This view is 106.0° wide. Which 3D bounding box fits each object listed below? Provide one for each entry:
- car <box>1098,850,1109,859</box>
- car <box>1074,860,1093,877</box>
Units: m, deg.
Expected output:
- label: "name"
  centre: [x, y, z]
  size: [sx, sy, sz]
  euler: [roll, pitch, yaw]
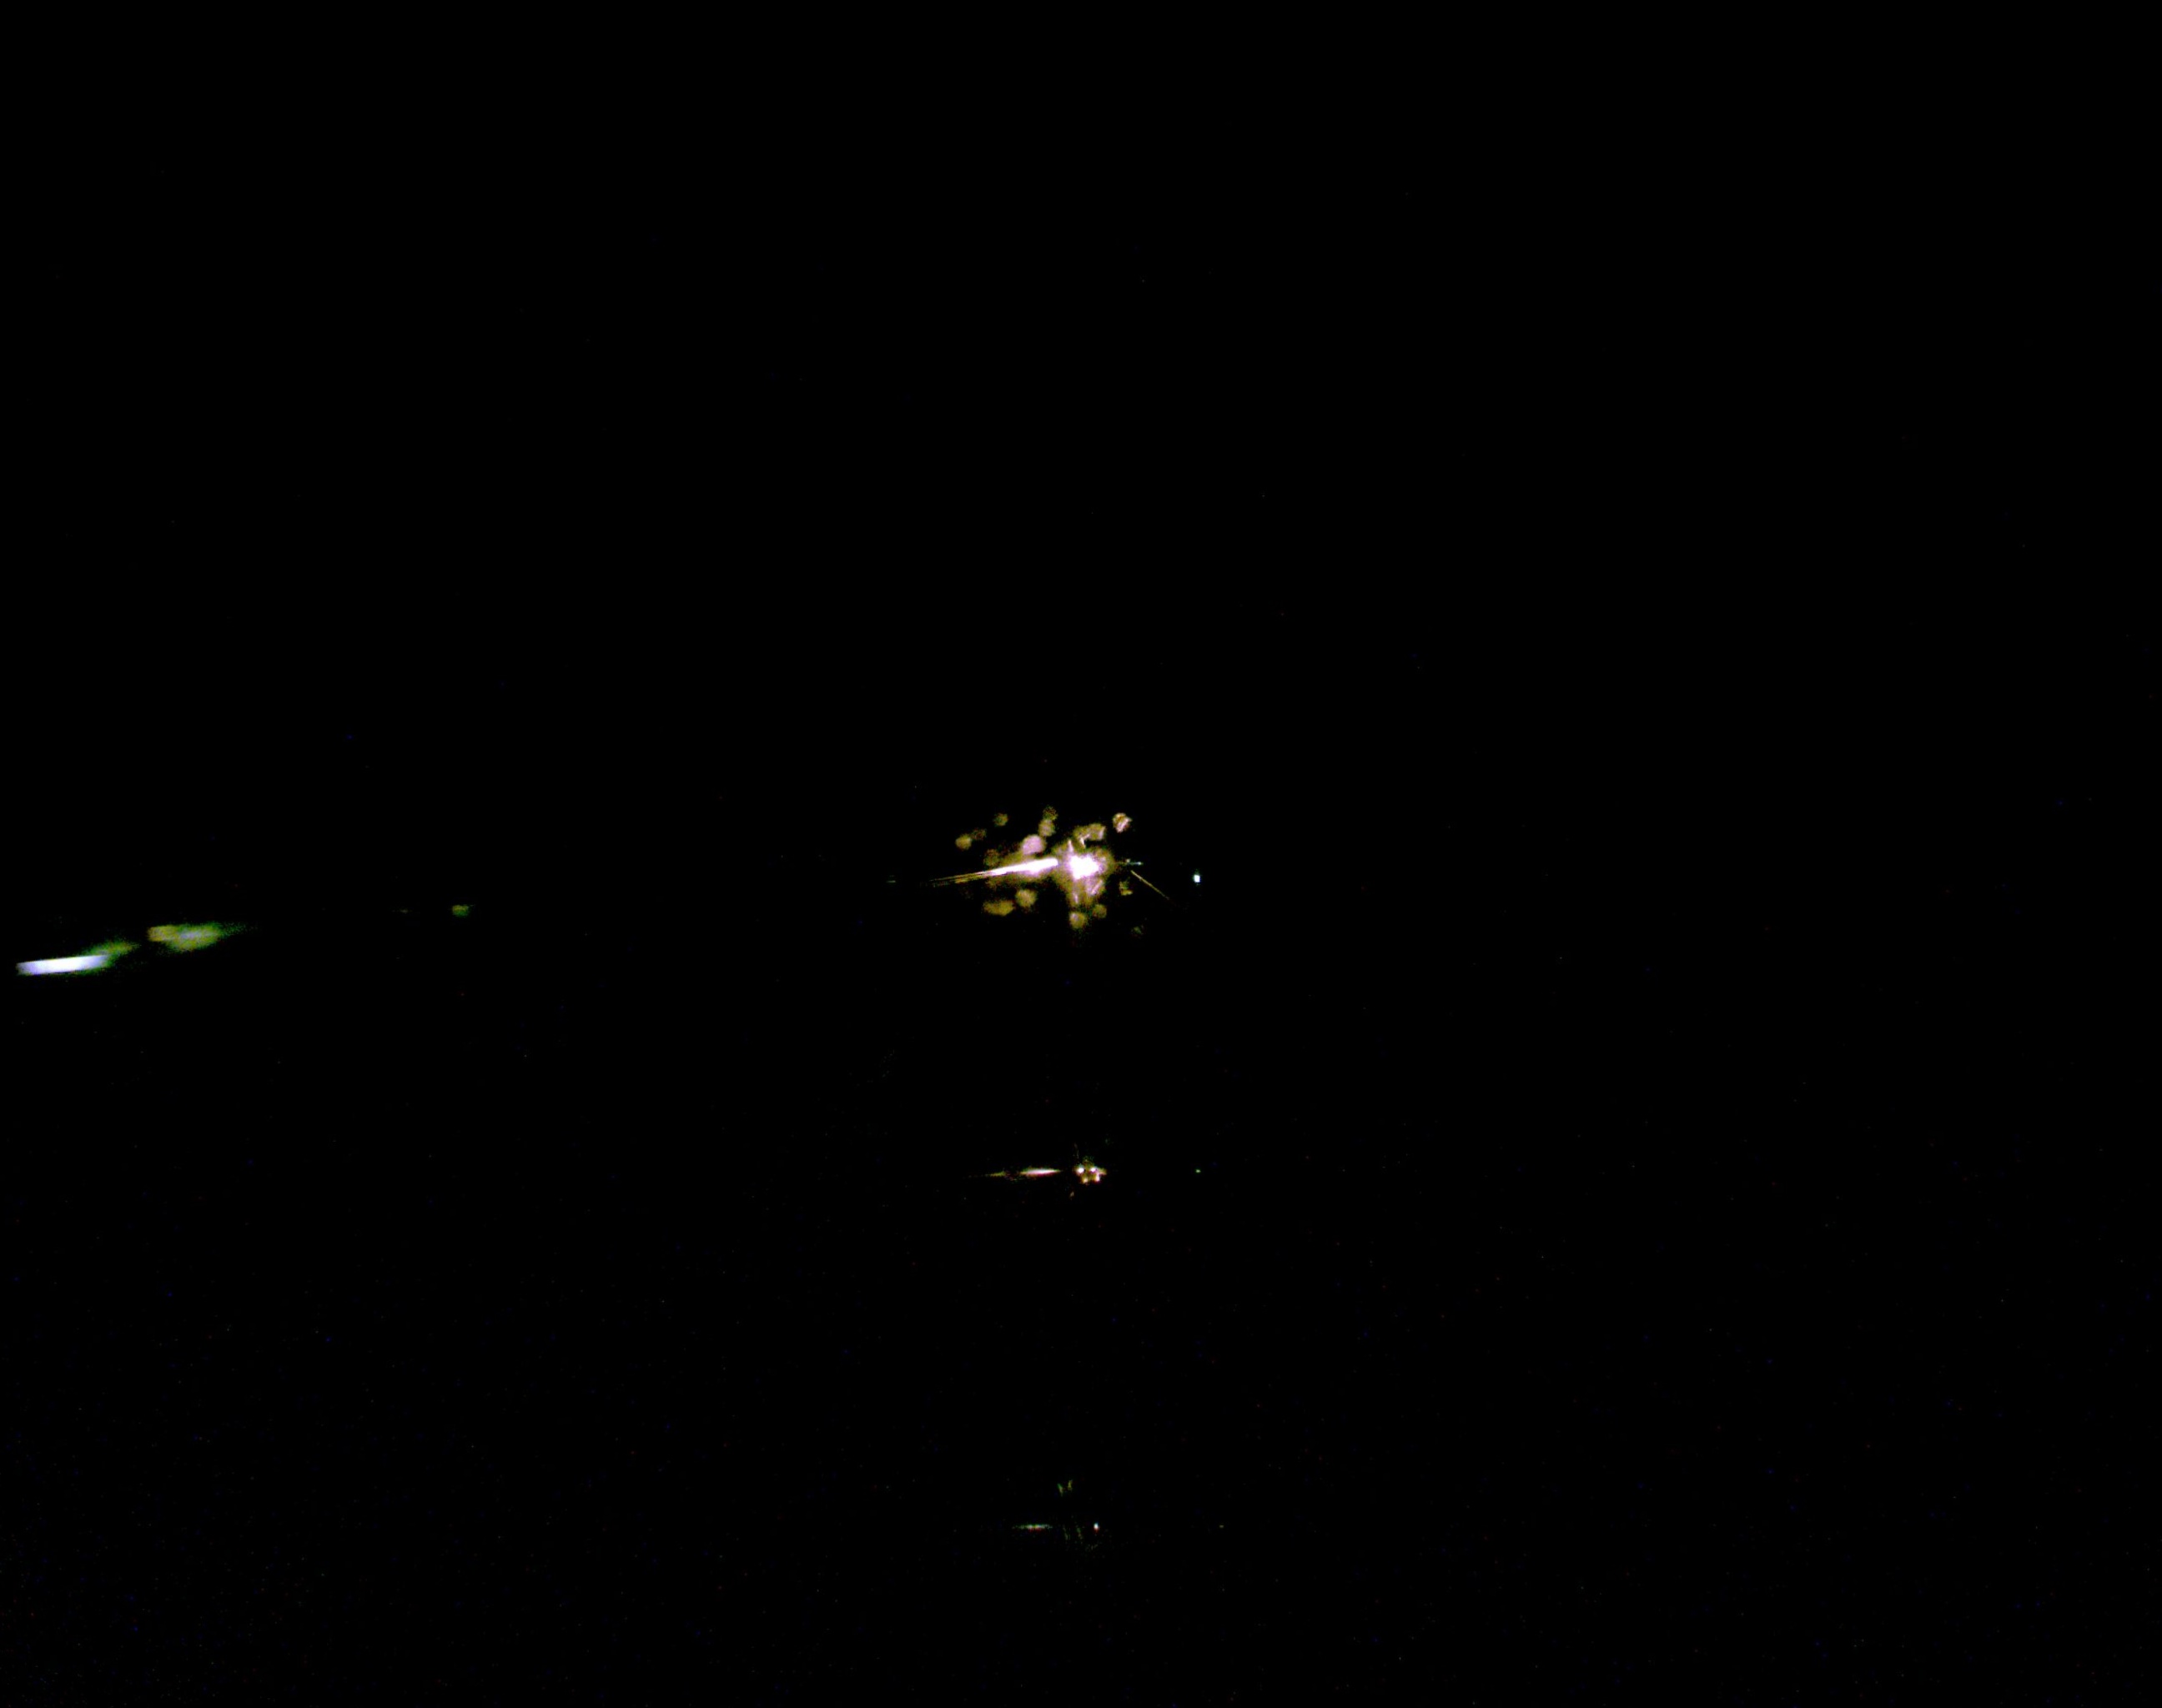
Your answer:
- label: "car"
  centre: [4.153, 0.063, 147.667]
  size: [1.986, 1.666, 4.002]
  euler: [-1, 0, 2]
- label: "car"
  centre: [0.312, 1.661, 93.390]
  size: [1.986, 1.825, 4.565]
  euler: [0, 0, 2]
